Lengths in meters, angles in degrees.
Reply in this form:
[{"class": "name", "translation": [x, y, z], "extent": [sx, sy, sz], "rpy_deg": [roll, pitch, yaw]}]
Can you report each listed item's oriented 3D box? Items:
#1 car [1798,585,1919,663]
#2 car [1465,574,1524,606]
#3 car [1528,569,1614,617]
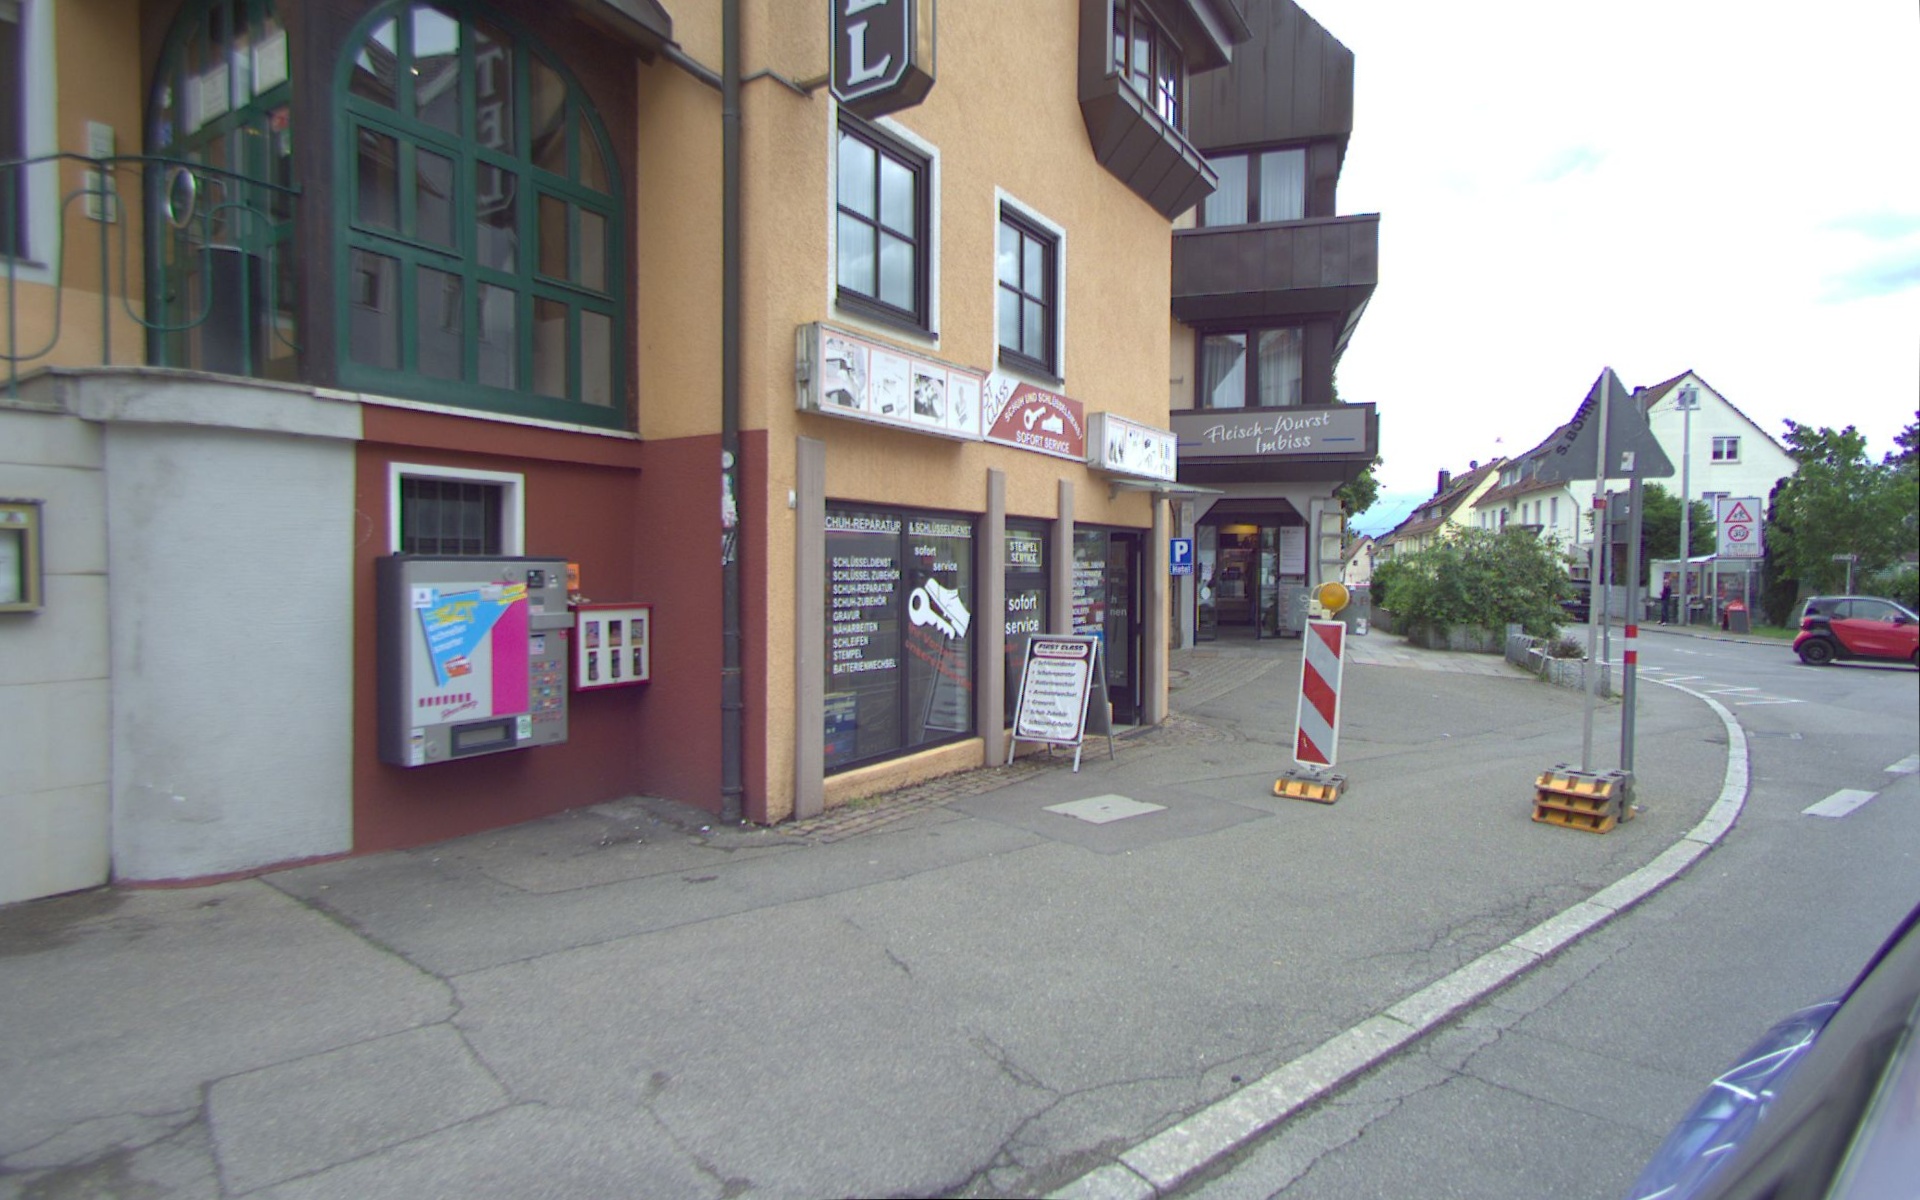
[{"class": "car", "translation": [19.989, 0.502, 21.806], "extent": [2.927, 1.539, 1.794], "rpy_deg": [3, 2, 41]}, {"class": "car", "translation": [30.616, -0.588, 58.090], "extent": [1.971, 1.693, 4.374], "rpy_deg": [2, 2, 15]}, {"class": "car", "translation": [26.733, -0.351, 44.451], "extent": [1.971, 1.900, 4.374], "rpy_deg": [2, 2, 15]}]
